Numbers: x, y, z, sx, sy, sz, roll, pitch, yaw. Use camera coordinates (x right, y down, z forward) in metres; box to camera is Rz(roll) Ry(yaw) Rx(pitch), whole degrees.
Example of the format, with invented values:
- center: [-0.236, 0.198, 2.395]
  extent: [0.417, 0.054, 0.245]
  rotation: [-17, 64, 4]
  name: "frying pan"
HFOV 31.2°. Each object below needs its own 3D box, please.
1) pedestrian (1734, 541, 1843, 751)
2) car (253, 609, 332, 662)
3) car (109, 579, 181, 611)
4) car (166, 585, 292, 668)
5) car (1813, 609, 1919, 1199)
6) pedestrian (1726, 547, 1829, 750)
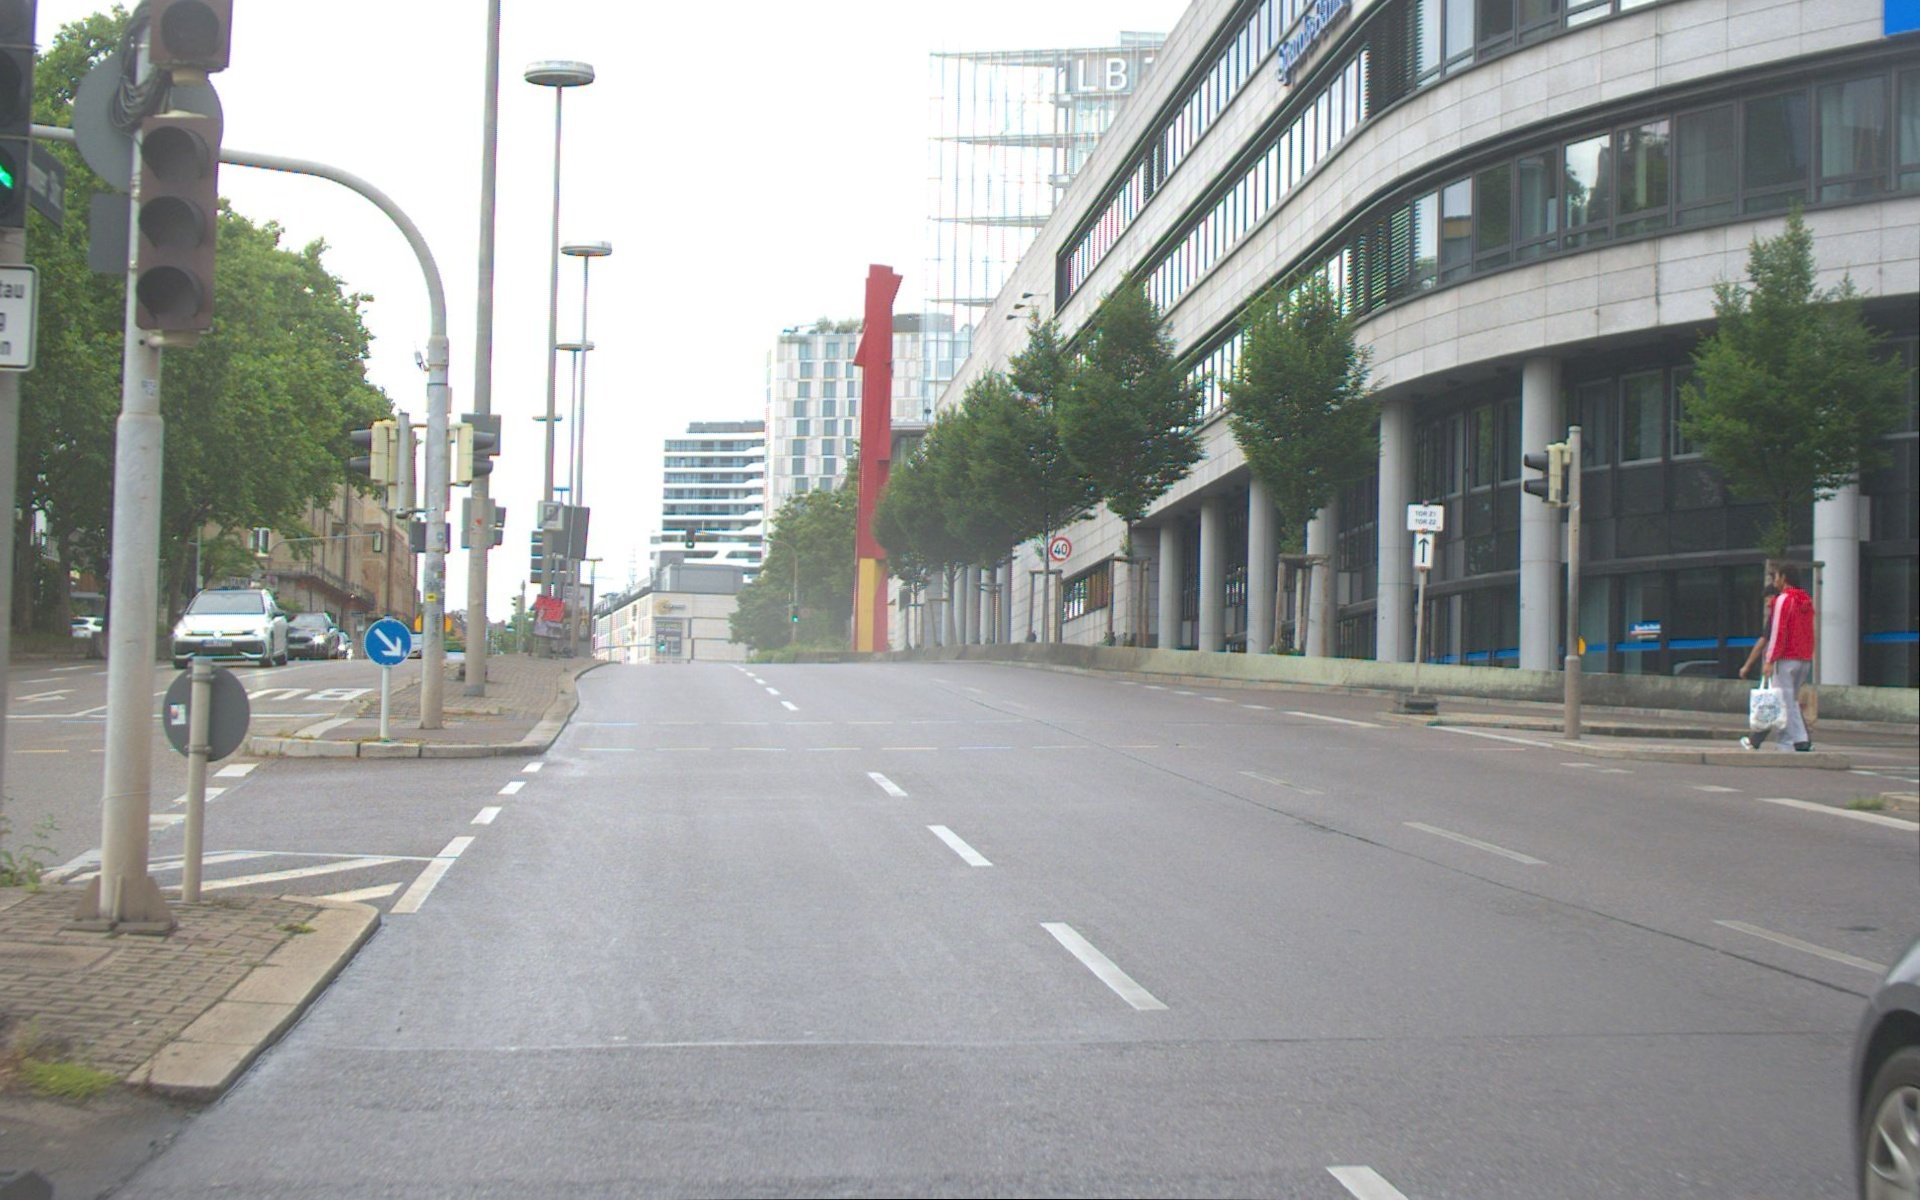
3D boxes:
- center: [7.622, 0.429, 31.604]
  extent: [0.841, 1.898, 0.860]
  rotation: [0, -2, 22]
  name: "pedestrian"
- center: [-19.338, 1.018, 99.726]
  extent: [1.807, 1.444, 4.341]
  rotation: [0, 1, -5]
  name: "car"
- center: [-44.270, -0.266, 186.750]
  extent: [3.628, 1.695, 1.825]
  rotation: [-1, -2, -7]
  name: "car"
- center: [-13.595, 0.461, 64.147]
  extent: [1.760, 1.456, 4.360]
  rotation: [0, 1, -5]
  name: "car"
- center: [2.875, 0.769, 5.218]
  extent: [1.739, 1.438, 4.001]
  rotation: [1, 0, -7]
  name: "car"
- center: [7.766, 0.451, 32.648]
  extent: [0.841, 1.898, 0.731]
  rotation: [0, -1, 22]
  name: "pedestrian"
